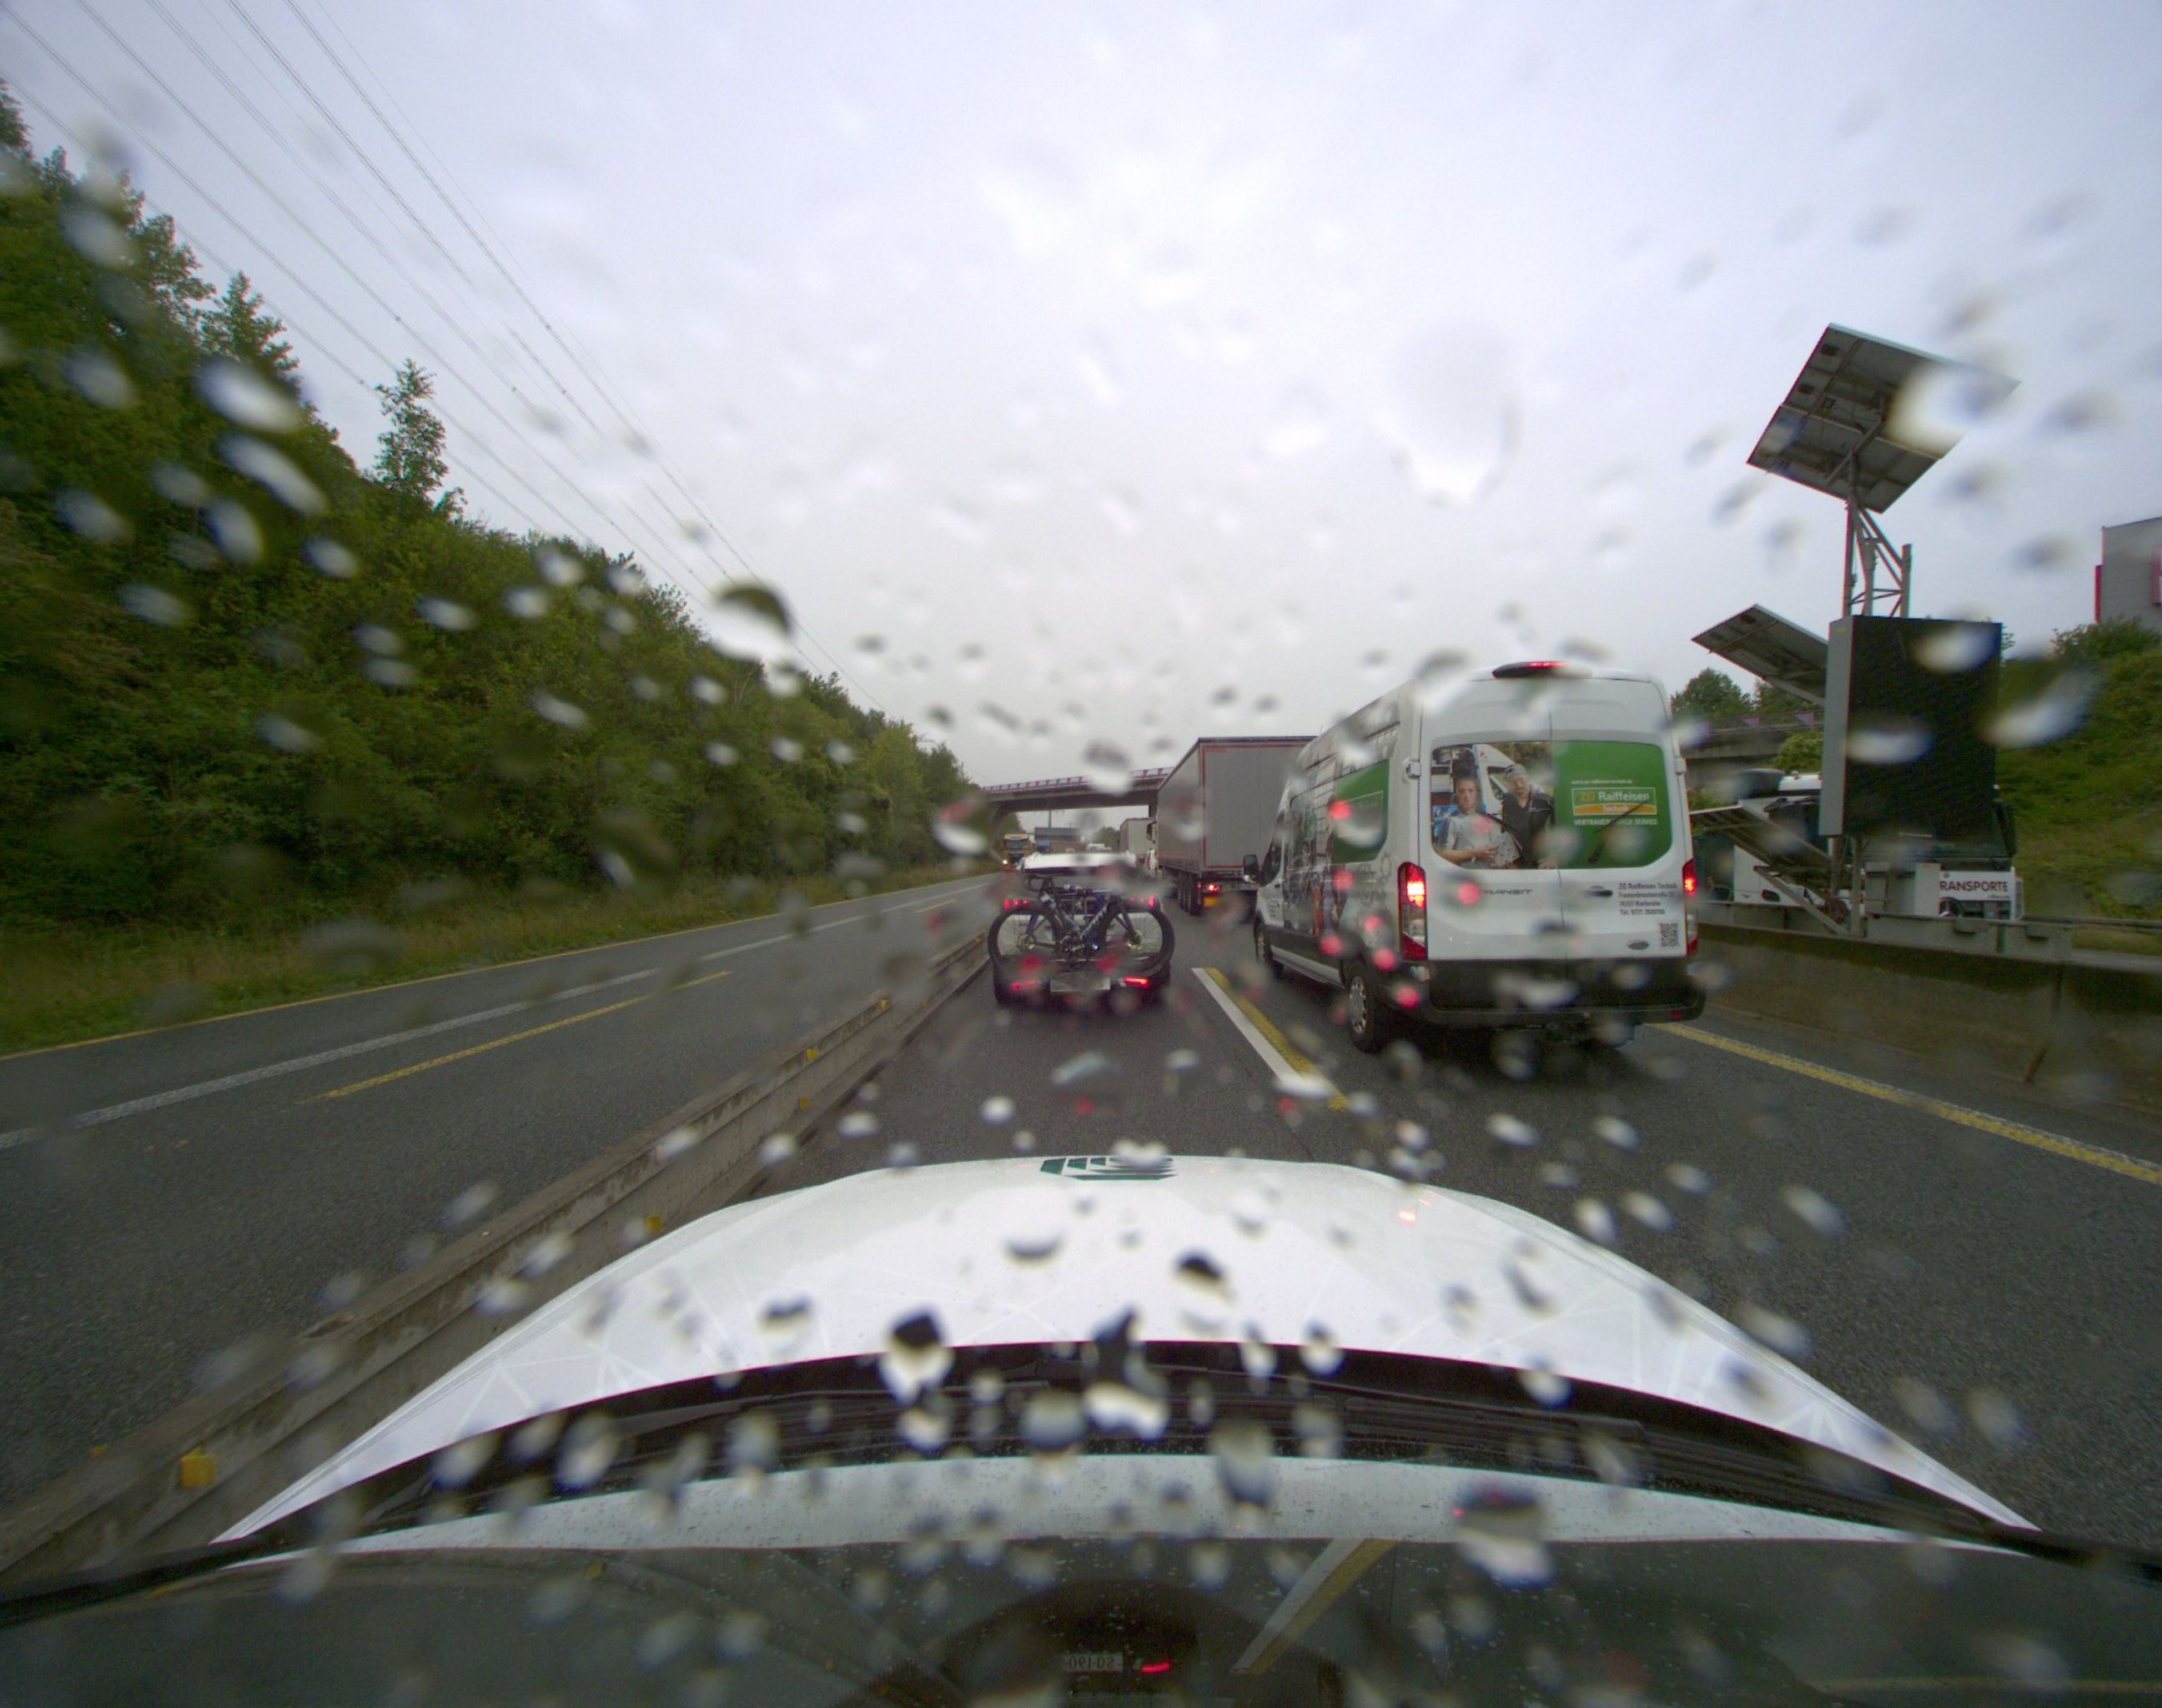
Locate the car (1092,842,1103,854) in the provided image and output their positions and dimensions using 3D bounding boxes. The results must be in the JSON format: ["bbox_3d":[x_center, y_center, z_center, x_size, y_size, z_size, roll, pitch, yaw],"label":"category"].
[{"bbox_3d":[3.301,-1.144,161.138,2.231,2.307,4.574,-1,-1,2],"label":"car"}]

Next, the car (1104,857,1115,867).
[{"bbox_3d":[4.186,1.152,120.634,1.632,1.497,3.667,-1,-1,2],"label":"car"}]

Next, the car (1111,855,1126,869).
[{"bbox_3d":[4.424,0.944,96.130,1.632,1.497,3.667,-1,-1,2],"label":"car"}]

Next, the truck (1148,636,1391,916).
[{"bbox_3d":[4.667,-1.504,26.809,3.964,5.673,20.384,-1,-1,2],"label":"truck"}]

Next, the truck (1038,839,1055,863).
[{"bbox_3d":[-6.218,-0.403,145.844,2.760,4.123,16.904,-1,-1,-4],"label":"truck"}]

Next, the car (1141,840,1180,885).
[{"bbox_3d":[4.081,0.439,42.480,1.664,2.180,4.535,-1,-1,1],"label":"car"}]

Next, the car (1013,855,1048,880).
[{"bbox_3d":[-3.018,0.807,49.244,1.773,1.443,4.328,-1,-1,1],"label":"car"}]

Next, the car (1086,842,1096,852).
[{"bbox_3d":[2.316,-1.508,185.921,1.986,2.126,4.528,-1,-1,2],"label":"car"}]

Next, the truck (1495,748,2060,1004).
[{"bbox_3d":[10.901,0.312,14.612,2.511,3.132,9.121,-1,-1,2],"label":"truck"}]

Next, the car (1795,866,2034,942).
[{"bbox_3d":[22.574,1.269,22.401,1.934,1.829,4.732,-1,-1,4],"label":"car"}]

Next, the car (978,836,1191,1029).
[{"bbox_3d":[0.148,0.694,9.283,1.802,1.637,4.639,-1,-1,3],"label":"car"}]

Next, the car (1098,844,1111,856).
[{"bbox_3d":[3.909,-0.665,134.033,1.988,2.014,3.998,-1,-1,-1],"label":"car"}]

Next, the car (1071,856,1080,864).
[{"bbox_3d":[-0.964,1.094,145.578,1.680,1.409,3.929,-1,-1,0],"label":"car"}]

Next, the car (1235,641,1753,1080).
[{"bbox_3d":[3.114,0.063,8.068,2.136,2.676,6.119,-1,-1,1],"label":"car"}]

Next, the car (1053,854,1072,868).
[{"bbox_3d":[-2.175,0.803,95.234,1.928,1.607,4.121,-1,-1,2],"label":"car"}]

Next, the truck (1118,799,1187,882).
[{"bbox_3d":[5.488,-0.848,66.727,4.723,5.673,20.391,-1,-1,3],"label":"truck"}]

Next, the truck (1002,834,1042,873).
[{"bbox_3d":[-5.753,-0.005,81.723,2.671,3.656,12.317,-1,-1,2],"label":"truck"}]

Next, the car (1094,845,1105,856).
[{"bbox_3d":[3.400,-0.620,148.239,1.986,2.014,4.002,-1,-1,2],"label":"car"}]
